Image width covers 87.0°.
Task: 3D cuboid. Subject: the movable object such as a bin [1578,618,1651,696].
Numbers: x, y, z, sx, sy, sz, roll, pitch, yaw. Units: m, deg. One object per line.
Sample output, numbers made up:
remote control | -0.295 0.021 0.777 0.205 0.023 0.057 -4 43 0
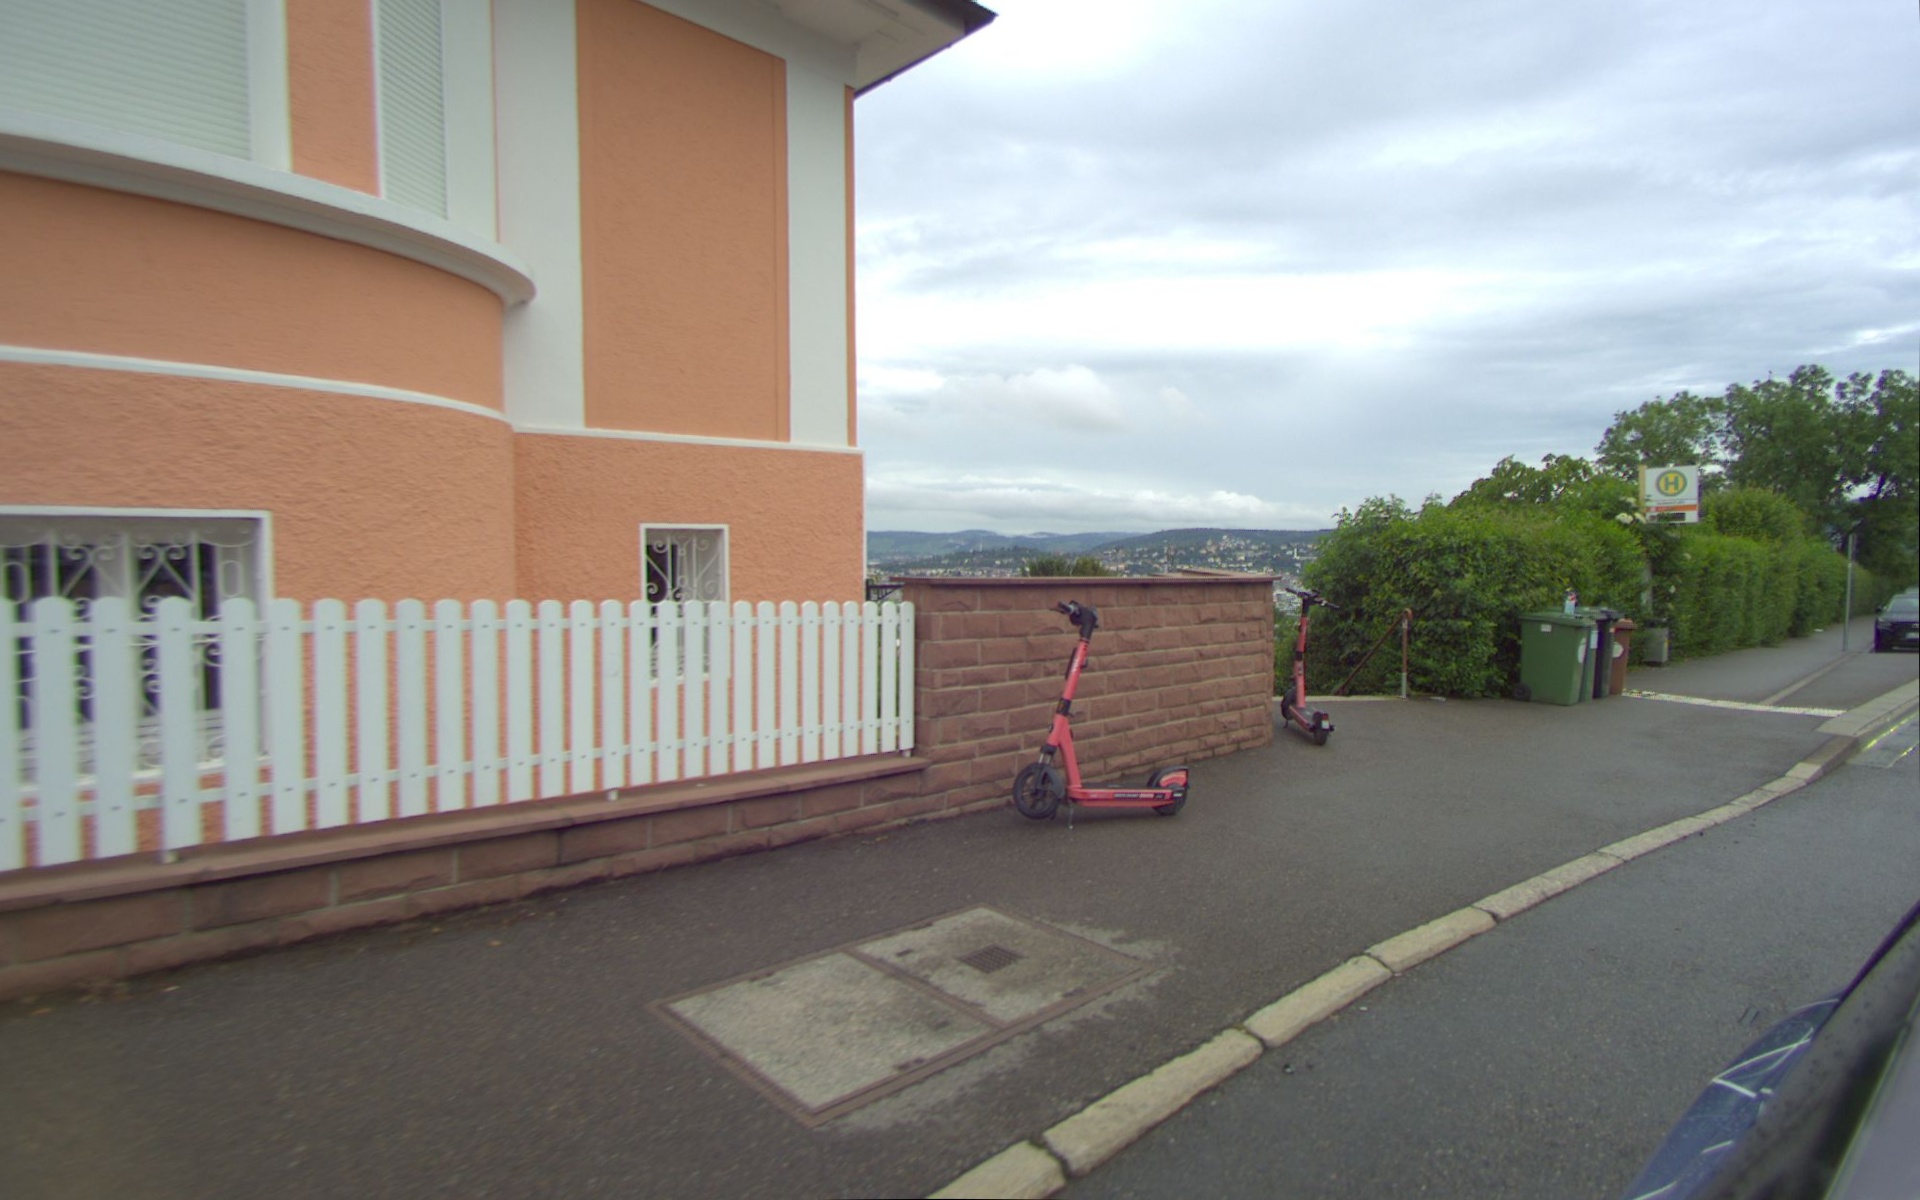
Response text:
movable object such as a bin | 7.908 0.669 12.231 0.579 0.874 0.613 -1 1 -41

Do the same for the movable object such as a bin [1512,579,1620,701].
movable object such as a bin | 6.778 0.415 11.314 0.901 1.260 0.727 -1 4 -41

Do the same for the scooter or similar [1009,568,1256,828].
scooter or similar | 1.024 0.526 5.939 1.447 1.420 0.357 0 1 -20

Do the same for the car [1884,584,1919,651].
car | 25.025 0.406 25.856 3.935 1.606 1.925 -1 1 -45

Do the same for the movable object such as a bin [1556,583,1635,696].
movable object such as a bin | 7.414 0.434 11.813 0.672 1.261 0.613 -1 1 -41

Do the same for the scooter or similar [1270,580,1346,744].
scooter or similar | 3.018 0.488 8.840 0.350 1.287 1.292 0 3 7
